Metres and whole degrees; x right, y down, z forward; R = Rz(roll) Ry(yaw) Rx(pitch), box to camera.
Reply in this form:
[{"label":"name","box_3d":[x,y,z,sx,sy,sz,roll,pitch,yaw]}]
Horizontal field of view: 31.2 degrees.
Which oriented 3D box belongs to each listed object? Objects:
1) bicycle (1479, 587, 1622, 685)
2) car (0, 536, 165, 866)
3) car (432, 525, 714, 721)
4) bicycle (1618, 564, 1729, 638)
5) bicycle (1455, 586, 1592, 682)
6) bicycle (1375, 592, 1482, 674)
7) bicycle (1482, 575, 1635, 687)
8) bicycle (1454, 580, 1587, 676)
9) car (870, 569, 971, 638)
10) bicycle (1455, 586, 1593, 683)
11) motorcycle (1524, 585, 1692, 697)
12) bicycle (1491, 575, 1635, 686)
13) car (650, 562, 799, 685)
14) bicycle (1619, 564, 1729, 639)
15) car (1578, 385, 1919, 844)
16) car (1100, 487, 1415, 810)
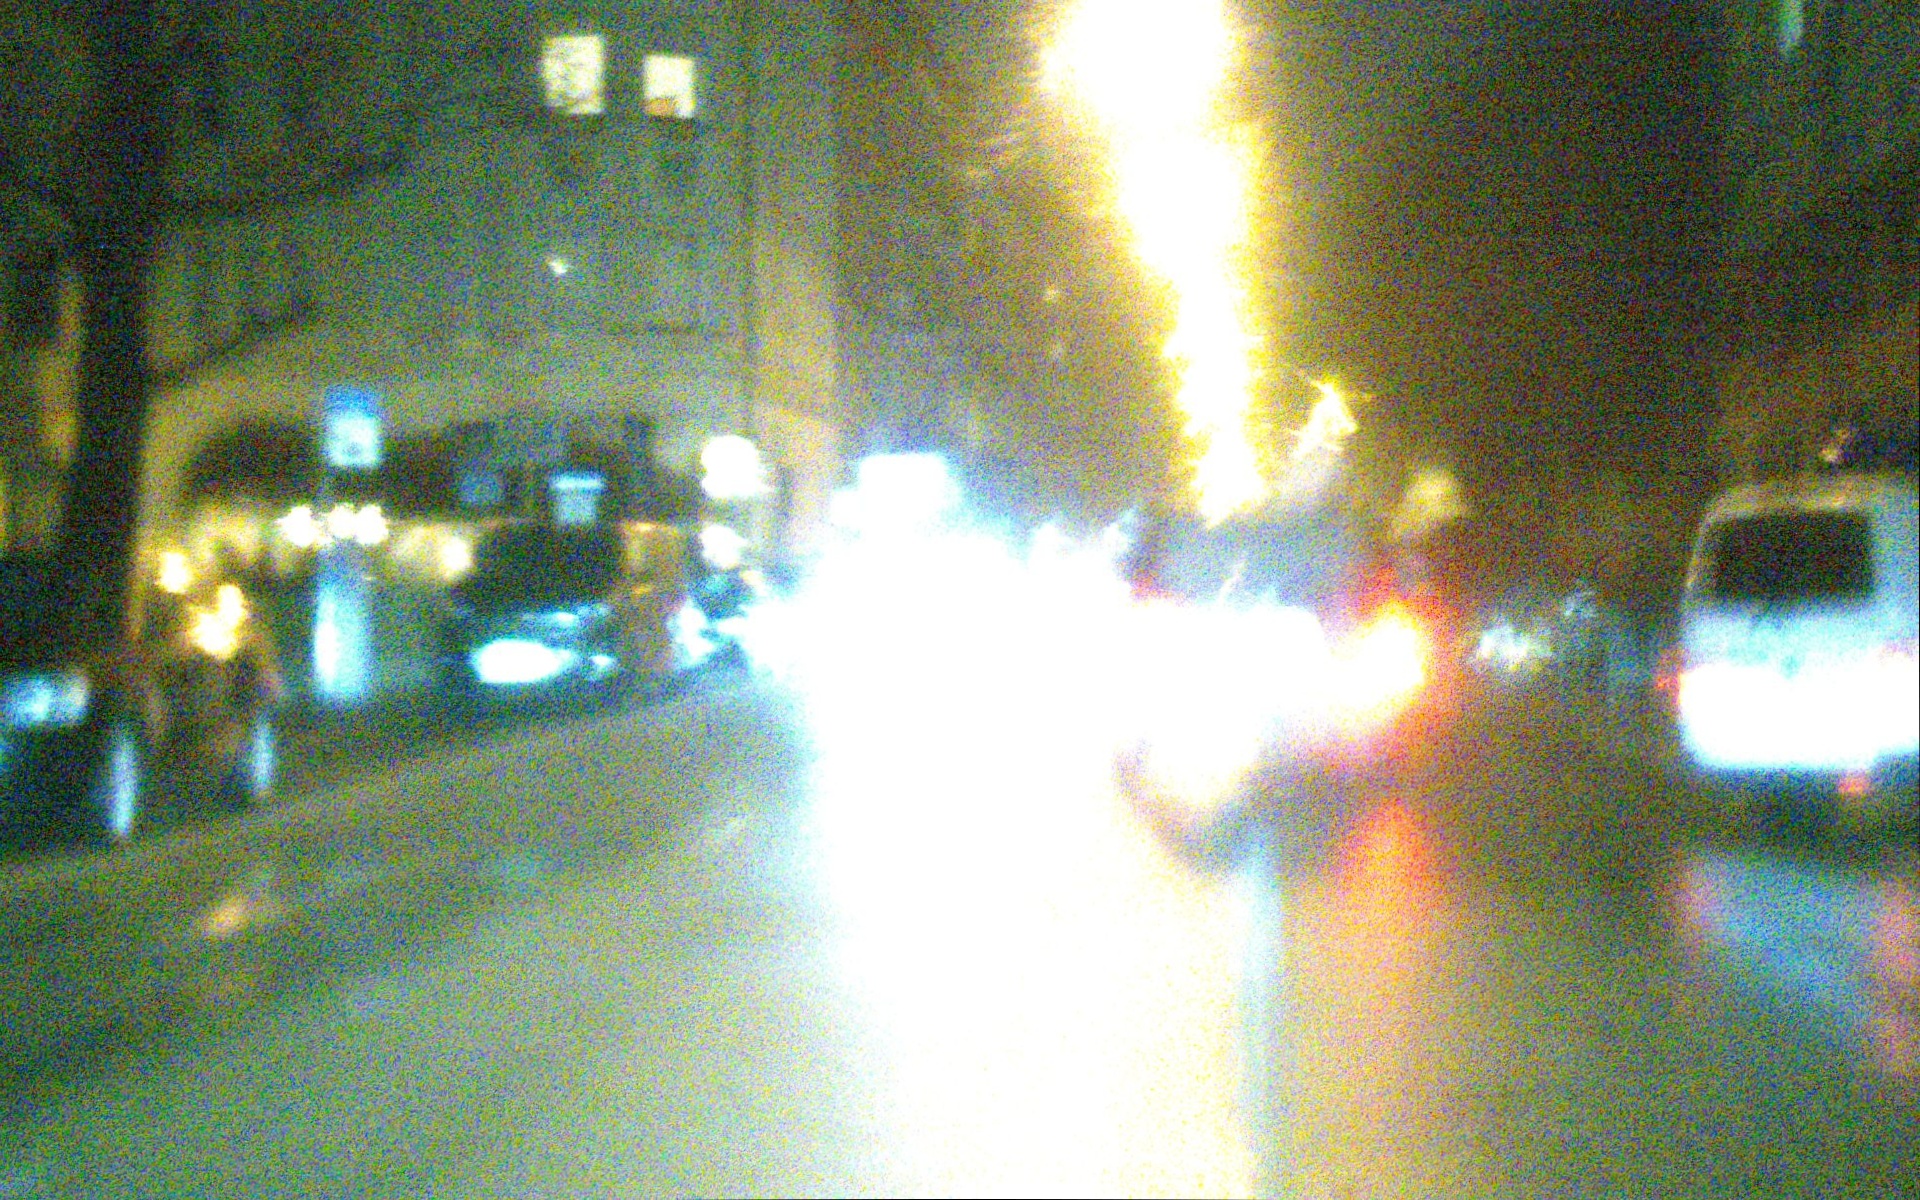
[{"label":"bicycle","box_3d":[6.972,0.422,40.607,1.595,1.108,0.418,-2,1,2]},{"label":"car","box_3d":[-5.510,0.479,19.431,1.811,1.664,4.412,0,1,-15]},{"label":"car","box_3d":[-3.836,0.198,34.938,1.867,1.840,4.826,0,0,6]},{"label":"bicycle","box_3d":[11.903,0.016,57.383,1.685,1.143,0.486,-3,1,-3]},{"label":"bicycle","box_3d":[6.872,0.414,41.954,1.595,1.154,0.418,0,0,2]},{"label":"bicycle","box_3d":[5.498,0.389,40.365,1.211,0.944,0.302,0,0,1]},{"label":"bicycle","box_3d":[6.788,0.350,39.043,1.664,1.230,0.385,-1,1,7]},{"label":"bicycle","box_3d":[7.036,0.355,43.140,1.596,1.154,0.539,-1,1,13]},{"label":"car","box_3d":[-0.775,0.055,70.054,1.654,1.354,4.221,0,1,5]},{"label":"bicycle","box_3d":[6.808,0.418,41.509,1.595,1.154,0.418,0,0,2]},{"label":"motorcycle","box_3d":[6.964,0.439,36.979,1.632,1.120,0.653,-3,1,-2]},{"label":"bicycle","box_3d":[6.932,0.345,39.551,1.580,1.230,0.418,-1,1,7]},{"label":"car","box_3d":[-3.058,0.276,44.087,1.546,1.438,3.564,2,1,-9]},{"label":"bicycle","box_3d":[11.804,0.018,56.856,1.685,1.143,0.429,-3,1,-3]},{"label":"car","box_3d":[6.193,0.035,19.644,4.925,2.333,2.232,-1,0,-29]},{"label":"car","box_3d":[2.074,0.312,24.018,1.994,2.043,3.999,1,0,5]}]
